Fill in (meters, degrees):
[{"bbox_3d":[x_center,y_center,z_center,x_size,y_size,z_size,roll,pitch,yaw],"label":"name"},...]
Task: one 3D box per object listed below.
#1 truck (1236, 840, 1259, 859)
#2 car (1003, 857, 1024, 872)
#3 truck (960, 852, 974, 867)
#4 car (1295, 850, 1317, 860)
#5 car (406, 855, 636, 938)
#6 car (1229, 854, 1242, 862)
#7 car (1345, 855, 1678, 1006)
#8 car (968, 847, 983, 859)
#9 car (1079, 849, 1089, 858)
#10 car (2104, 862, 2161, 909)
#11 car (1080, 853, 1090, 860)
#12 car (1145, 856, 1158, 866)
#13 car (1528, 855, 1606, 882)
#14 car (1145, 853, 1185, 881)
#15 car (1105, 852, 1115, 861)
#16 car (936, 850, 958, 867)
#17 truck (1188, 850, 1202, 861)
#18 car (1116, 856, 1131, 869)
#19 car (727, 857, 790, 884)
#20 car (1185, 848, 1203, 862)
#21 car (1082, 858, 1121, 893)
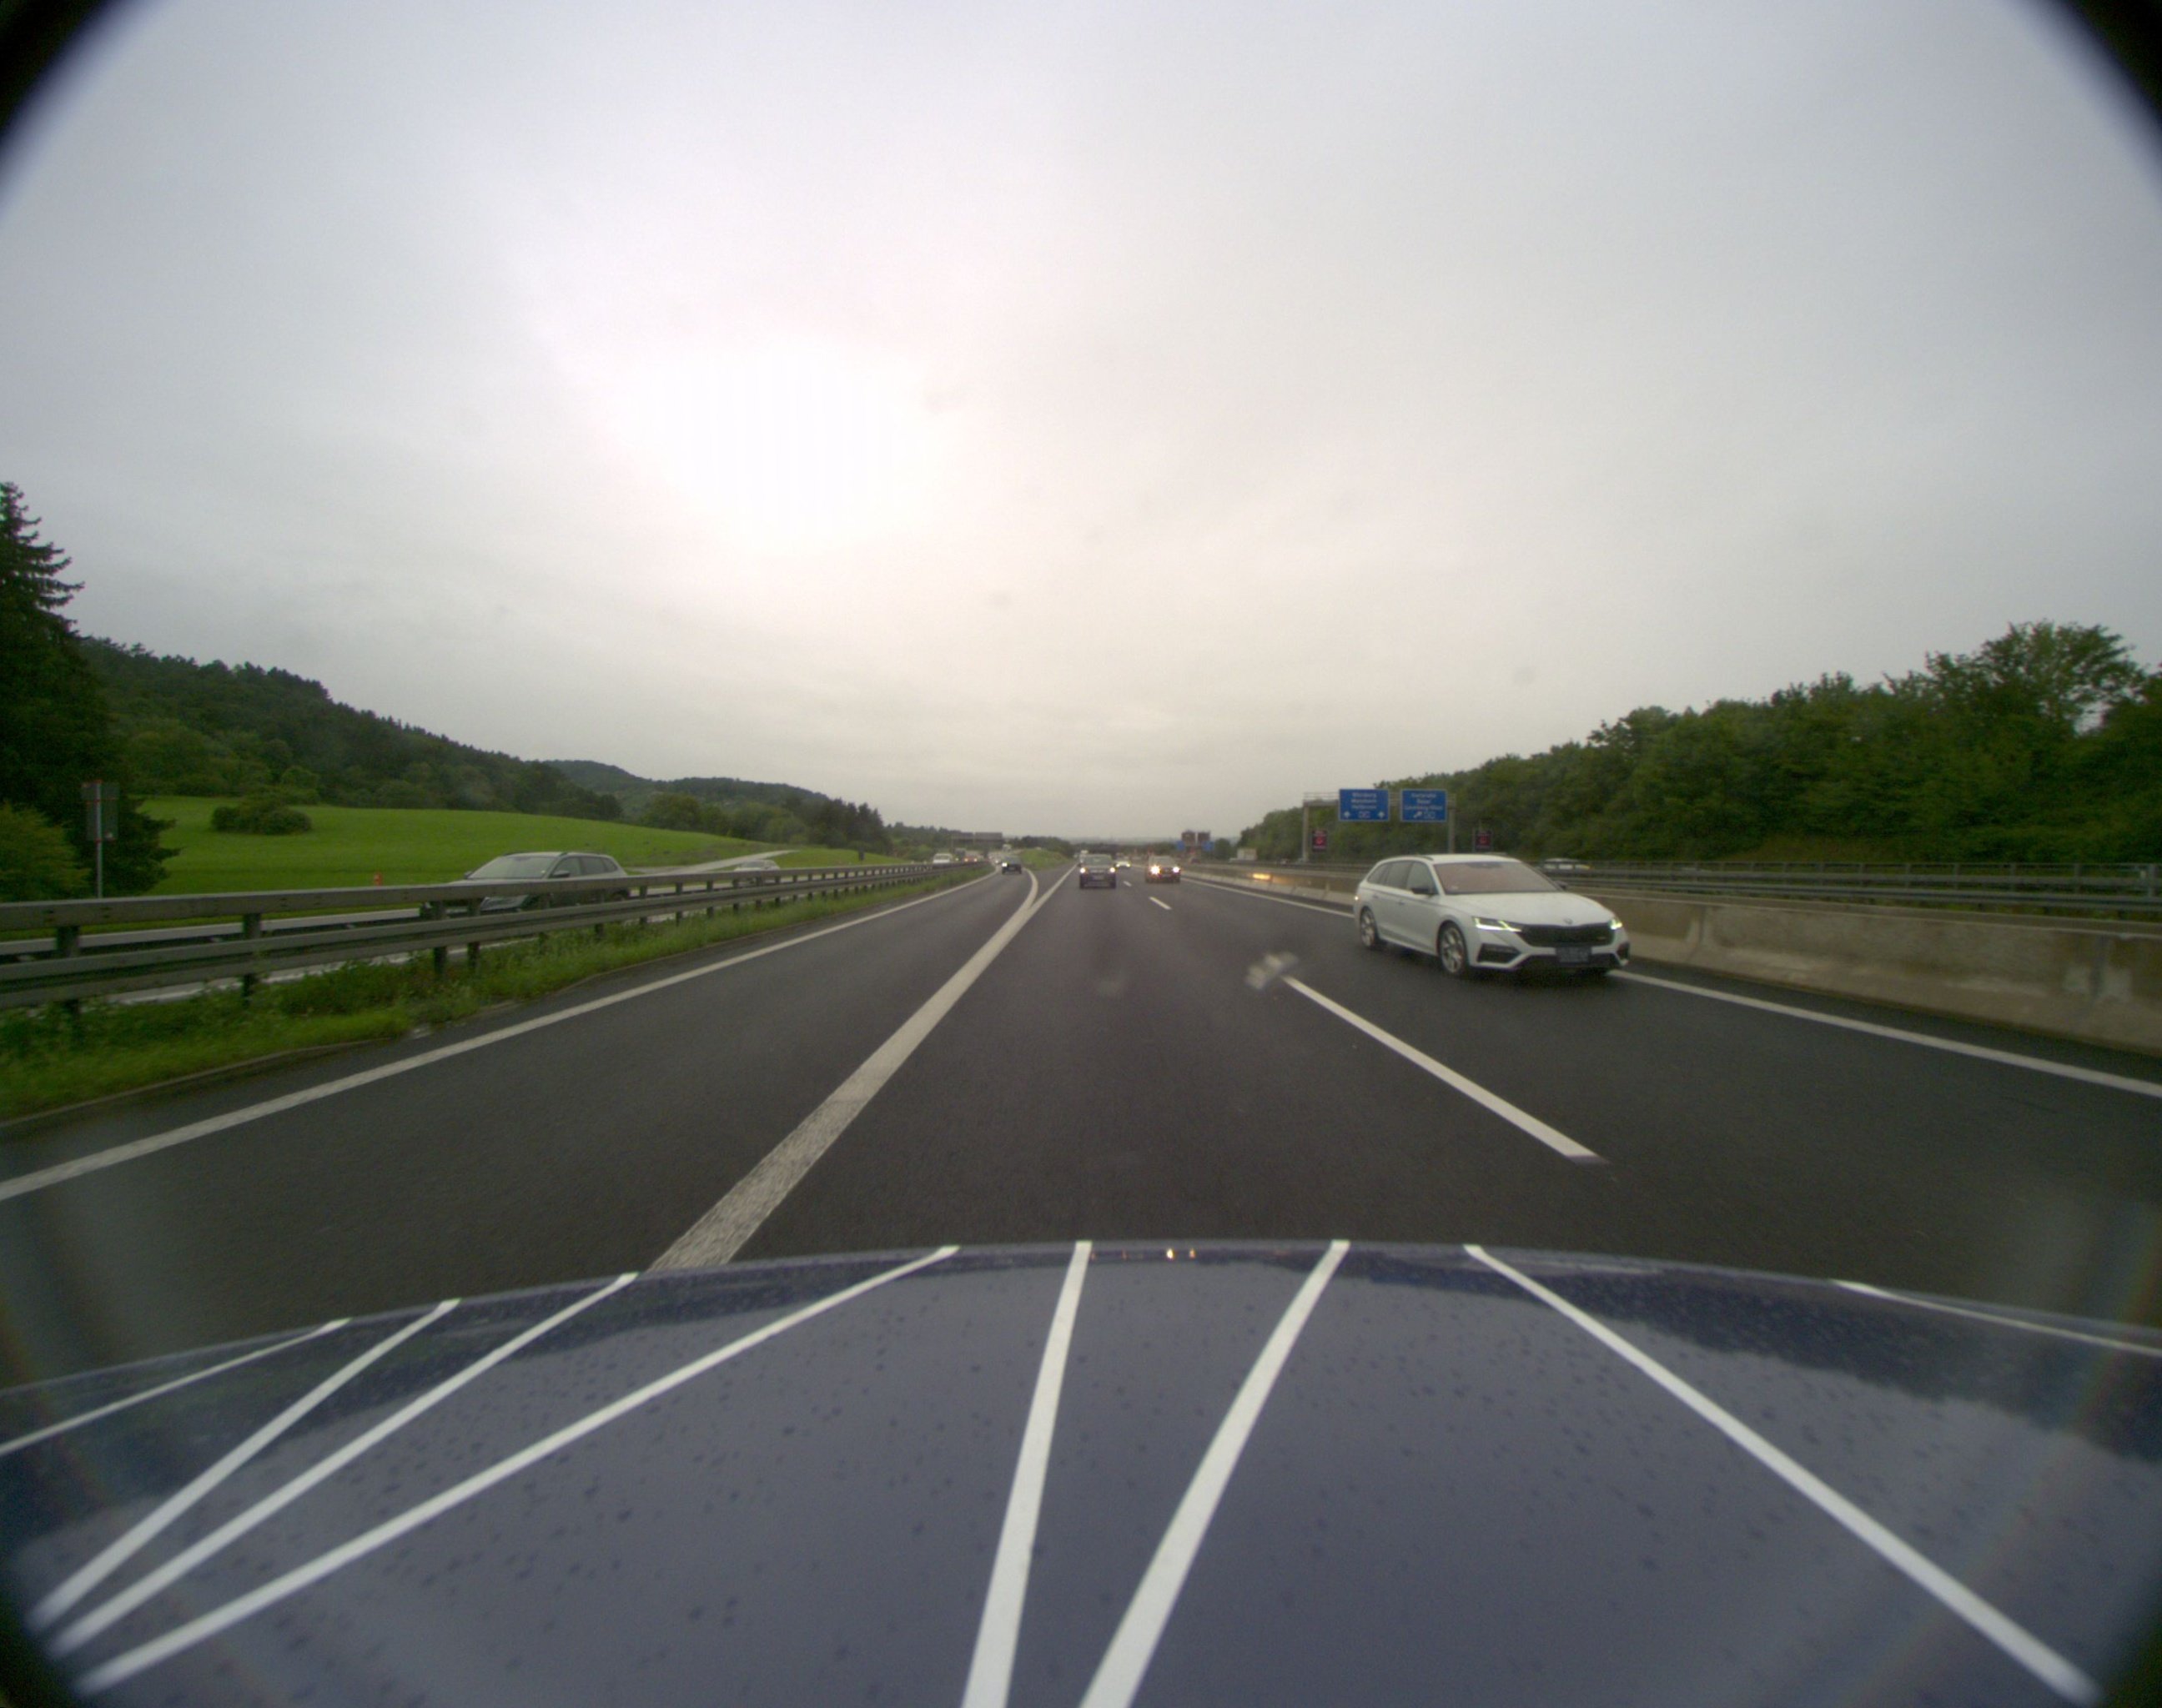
[{"bbox_3d":[36.908,-0.997,168.820,3.082,3.856,9.634,-1,1,1],"label":"truck"},{"bbox_3d":[-6.619,0.992,74.854,1.867,1.349,4.565,-1,1,-3],"label":"car"},{"bbox_3d":[-31.488,1.459,209.988,2.799,3.878,10.025,-1,1,-2],"label":"truck"},{"bbox_3d":[33.574,0.146,113.571,1.823,1.484,4.474,-1,1,-1],"label":"car"},{"bbox_3d":[-10.826,0.743,15.132,1.671,1.375,4.124,1,1,-3],"label":"car"},{"bbox_3d":[29.487,0.763,144.990,1.680,1.448,4.632,-1,1,0],"label":"car"},{"bbox_3d":[5.221,0.790,10.139,1.823,1.448,4.777,-1,1,2],"label":"car"},{"bbox_3d":[-18.181,-0.209,130.916,2.130,2.002,5.075,-1,1,-3],"label":"car"},{"bbox_3d":[0.680,-0.214,173.299,2.016,1.994,4.566,-1,1,-1],"label":"car"},{"bbox_3d":[35.844,1.033,23.556,1.823,1.448,4.776,-1,1,-1],"label":"car"},{"bbox_3d":[0.848,0.550,166.889,1.919,1.481,4.566,-1,1,-1],"label":"car"},{"bbox_3d":[13.879,1.376,150.107,1.998,2.002,4.982,-1,1,0],"label":"car"},{"bbox_3d":[28.957,0.816,45.437,1.823,1.448,4.268,-1,1,-1],"label":"car"},{"bbox_3d":[4.812,0.722,44.046,1.726,1.481,4.566,-1,1,0],"label":"car"},{"bbox_3d":[5.448,0.484,143.357,1.726,1.481,4.566,-1,1,-1],"label":"car"},{"bbox_3d":[-14.653,0.462,83.274,1.915,1.684,4.716,-1,1,-6],"label":"car"},{"bbox_3d":[34.474,0.535,230.788,2.858,3.202,9.078,-1,1,1],"label":"truck"},{"bbox_3d":[5.347,1.057,95.690,1.725,1.481,4.567,-1,1,1],"label":"car"},{"bbox_3d":[-19.629,0.952,46.441,1.904,1.446,4.709,-1,1,-1],"label":"car"},{"bbox_3d":[17.303,0.176,116.769,1.998,2.002,4.982,-1,1,0],"label":"car"},{"bbox_3d":[0.955,1.012,37.950,1.813,1.571,3.834,-1,1,0],"label":"car"}]
